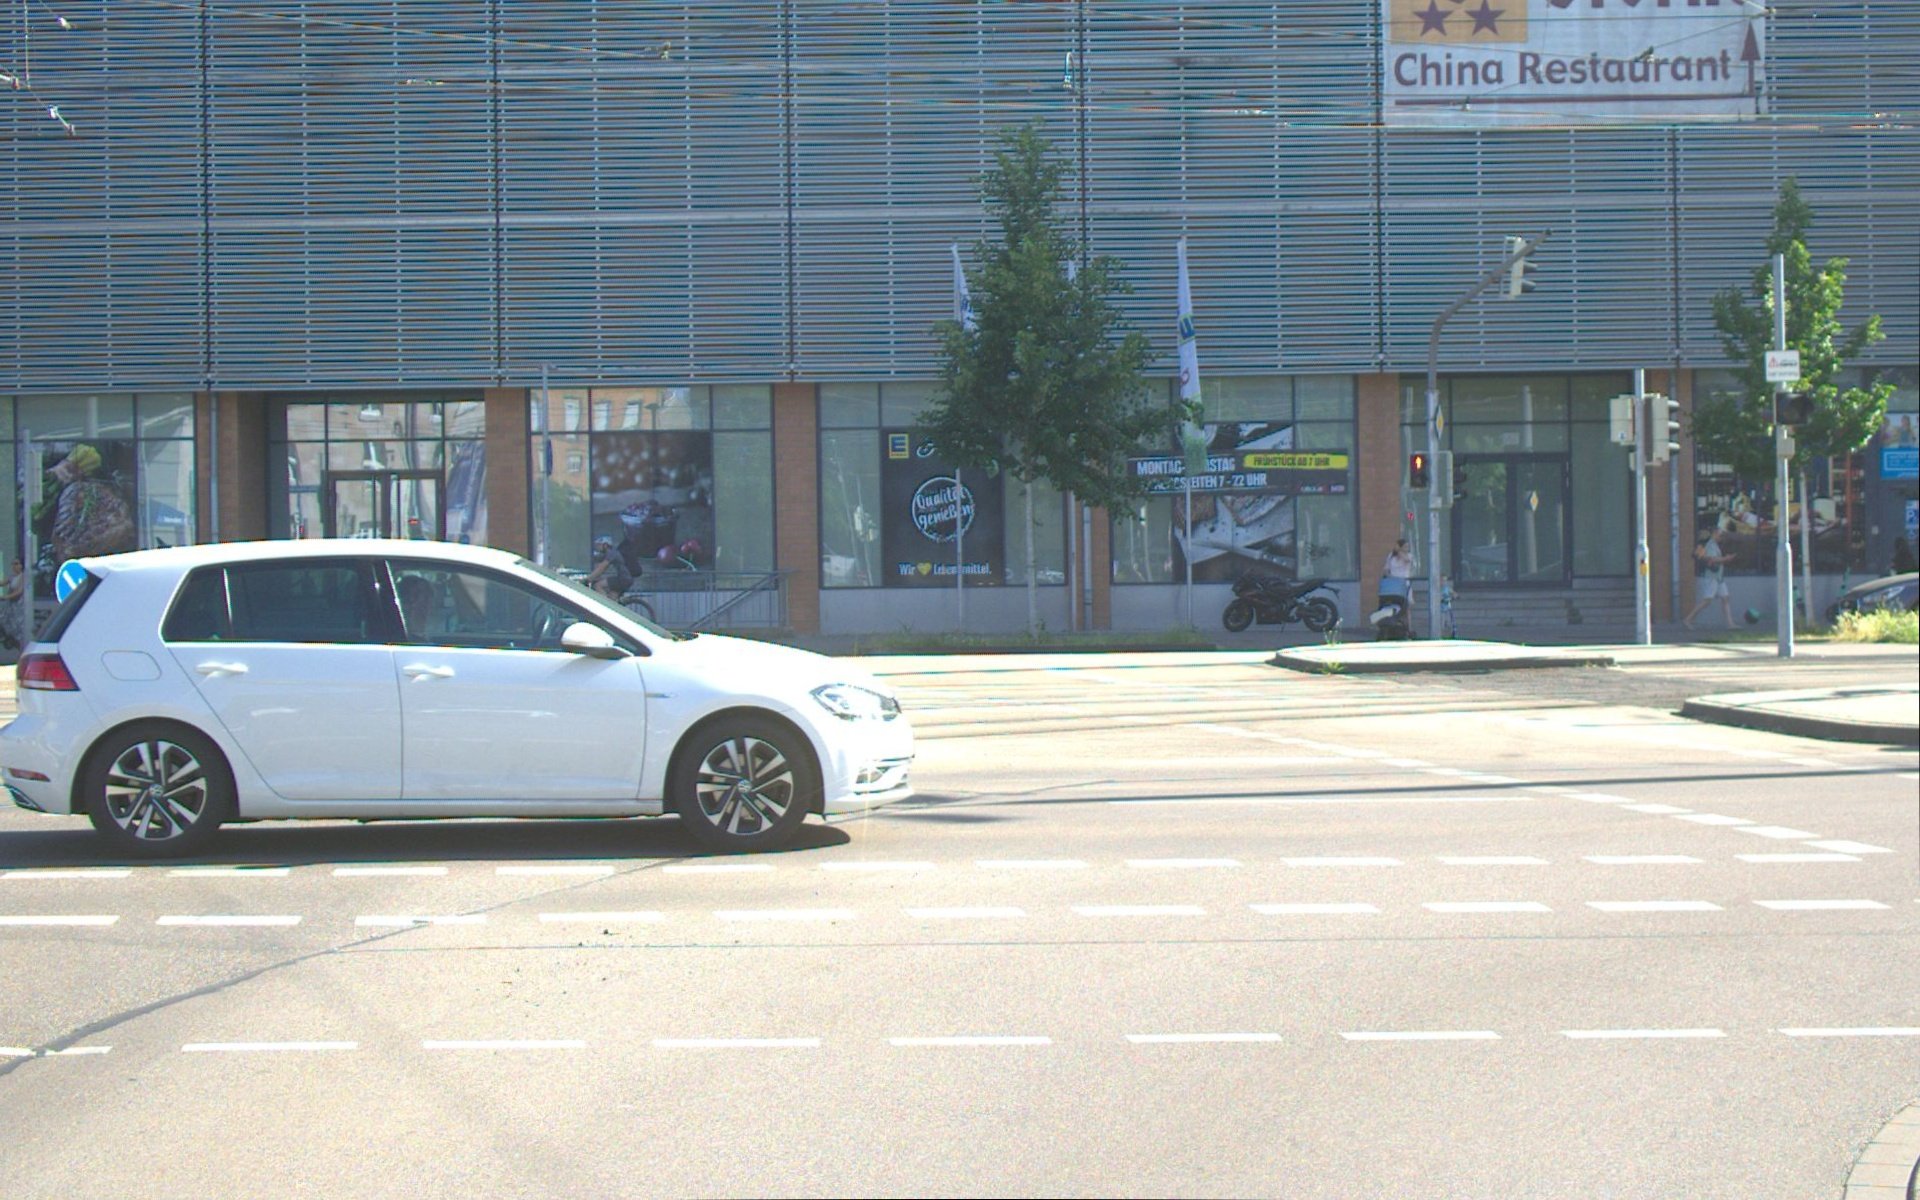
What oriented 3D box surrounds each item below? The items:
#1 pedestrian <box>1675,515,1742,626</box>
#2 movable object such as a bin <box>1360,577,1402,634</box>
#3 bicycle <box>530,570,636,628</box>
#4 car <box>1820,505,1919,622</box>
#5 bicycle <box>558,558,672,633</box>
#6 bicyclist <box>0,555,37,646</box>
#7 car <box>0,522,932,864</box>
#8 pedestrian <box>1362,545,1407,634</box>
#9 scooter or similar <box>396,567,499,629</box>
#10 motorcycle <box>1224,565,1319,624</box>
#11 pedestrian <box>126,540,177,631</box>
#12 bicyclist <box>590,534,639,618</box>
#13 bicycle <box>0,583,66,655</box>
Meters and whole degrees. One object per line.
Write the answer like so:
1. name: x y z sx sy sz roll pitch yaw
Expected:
1. pedestrian: 12.843 -0.501 58.996 0.950 1.822 0.845 -2 -3 5
2. movable object such as a bin: 6.715 0.081 54.809 0.613 0.901 0.968 1 0 10
3. bicycle: -6.647 -0.014 60.543 1.815 0.986 0.558 -1 2 -10
4. car: 13.837 -0.398 45.948 4.146 1.464 1.841 3 0 -1
5. bicycle: -5.836 -0.078 58.254 1.857 1.213 0.569 -1 2 -1
6. bicyclist: -15.276 0.004 54.782 0.675 1.422 0.847 1 3 43
7. car: -2.377 0.388 16.347 4.281 1.467 1.866 -1 1 -7
8. pedestrian: 6.834 -0.175 55.270 0.655 1.409 0.849 1 0 10
9. scooter or similar: -9.076 -0.044 60.926 1.792 1.062 0.613 0 2 -8
10. motorcycle: 5.497 -0.099 60.636 1.640 1.001 0.446 1 1 6
11. pedestrian: -14.363 -0.259 61.078 0.661 1.595 0.594 1 0 18
12. bicyclist: -5.846 -0.411 58.228 0.753 1.382 0.565 -1 2 -1
13. bicycle: -15.243 0.313 54.862 0.568 1.082 1.859 1 3 43
